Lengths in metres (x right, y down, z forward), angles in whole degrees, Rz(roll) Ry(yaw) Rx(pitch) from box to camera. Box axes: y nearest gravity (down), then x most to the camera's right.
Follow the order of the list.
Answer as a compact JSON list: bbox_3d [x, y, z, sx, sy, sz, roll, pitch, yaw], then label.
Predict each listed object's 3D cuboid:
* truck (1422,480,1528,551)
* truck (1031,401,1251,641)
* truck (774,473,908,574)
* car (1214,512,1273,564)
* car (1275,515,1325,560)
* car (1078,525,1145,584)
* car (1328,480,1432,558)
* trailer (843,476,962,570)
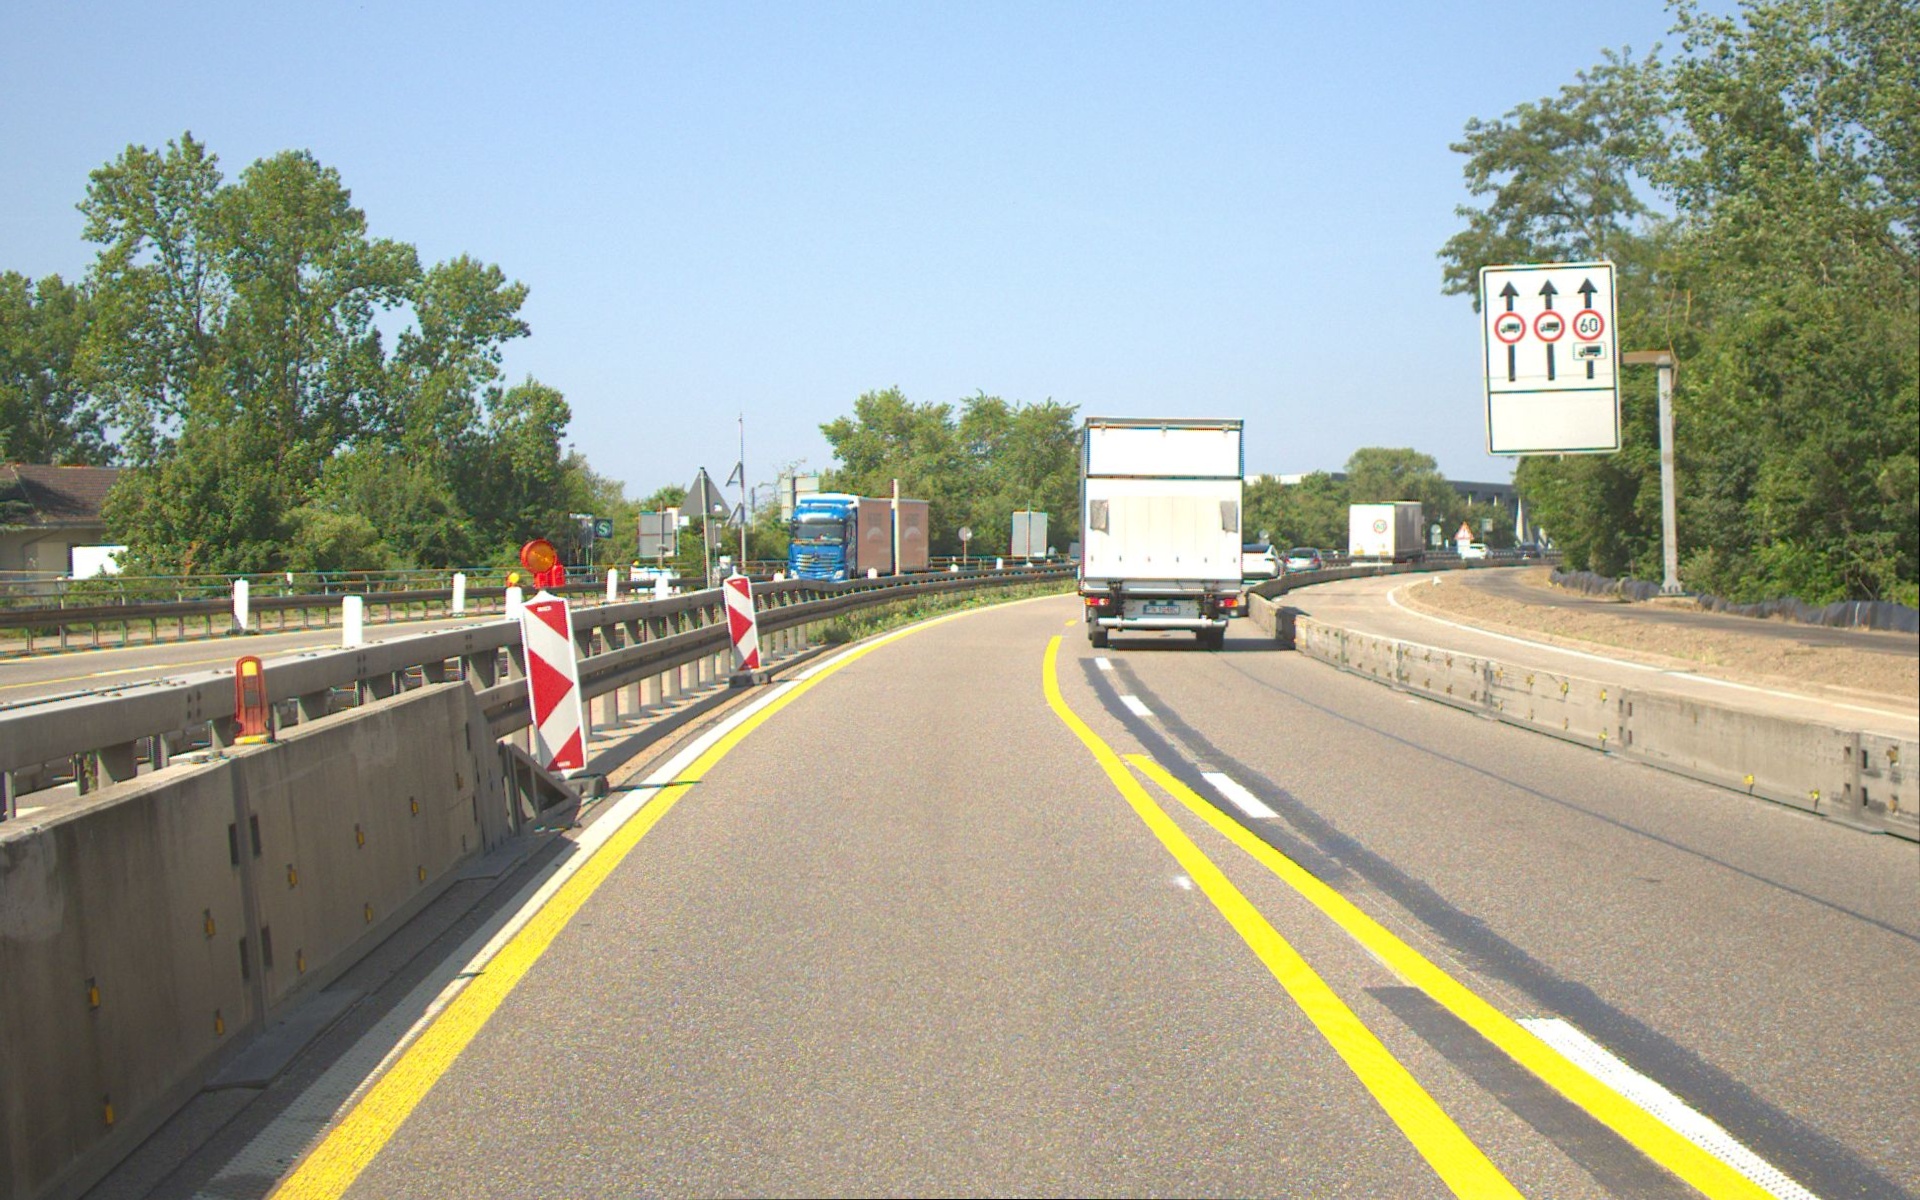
[{"bbox_3d":[32.993,-5.433,220.024,4.225,4.252,10.230,-2,1,22],"label":"truck"},{"bbox_3d":[2.685,-1.217,53.110,2.634,3.415,7.234,1,1,-3],"label":"truck"},{"bbox_3d":[-4.909,-3.220,144.783,3.039,4.077,10.618,1,1,13],"label":"truck"},{"bbox_3d":[11.594,-2.561,140.401,1.994,2.007,3.999,-2,1,9],"label":"car"},{"bbox_3d":[16.345,-3.011,164.981,1.994,2.007,3.999,-2,1,10],"label":"car"},{"bbox_3d":[4.852,-1.474,109.555,1.817,1.770,3.999,-2,1,6],"label":"car"},{"bbox_3d":[24.540,-4.750,200.360,4.210,4.237,10.654,-2,1,16],"label":"car"},{"bbox_3d":[-2.524,-3.456,154.823,3.039,4.077,9.783,1,1,13],"label":"trailer"}]
